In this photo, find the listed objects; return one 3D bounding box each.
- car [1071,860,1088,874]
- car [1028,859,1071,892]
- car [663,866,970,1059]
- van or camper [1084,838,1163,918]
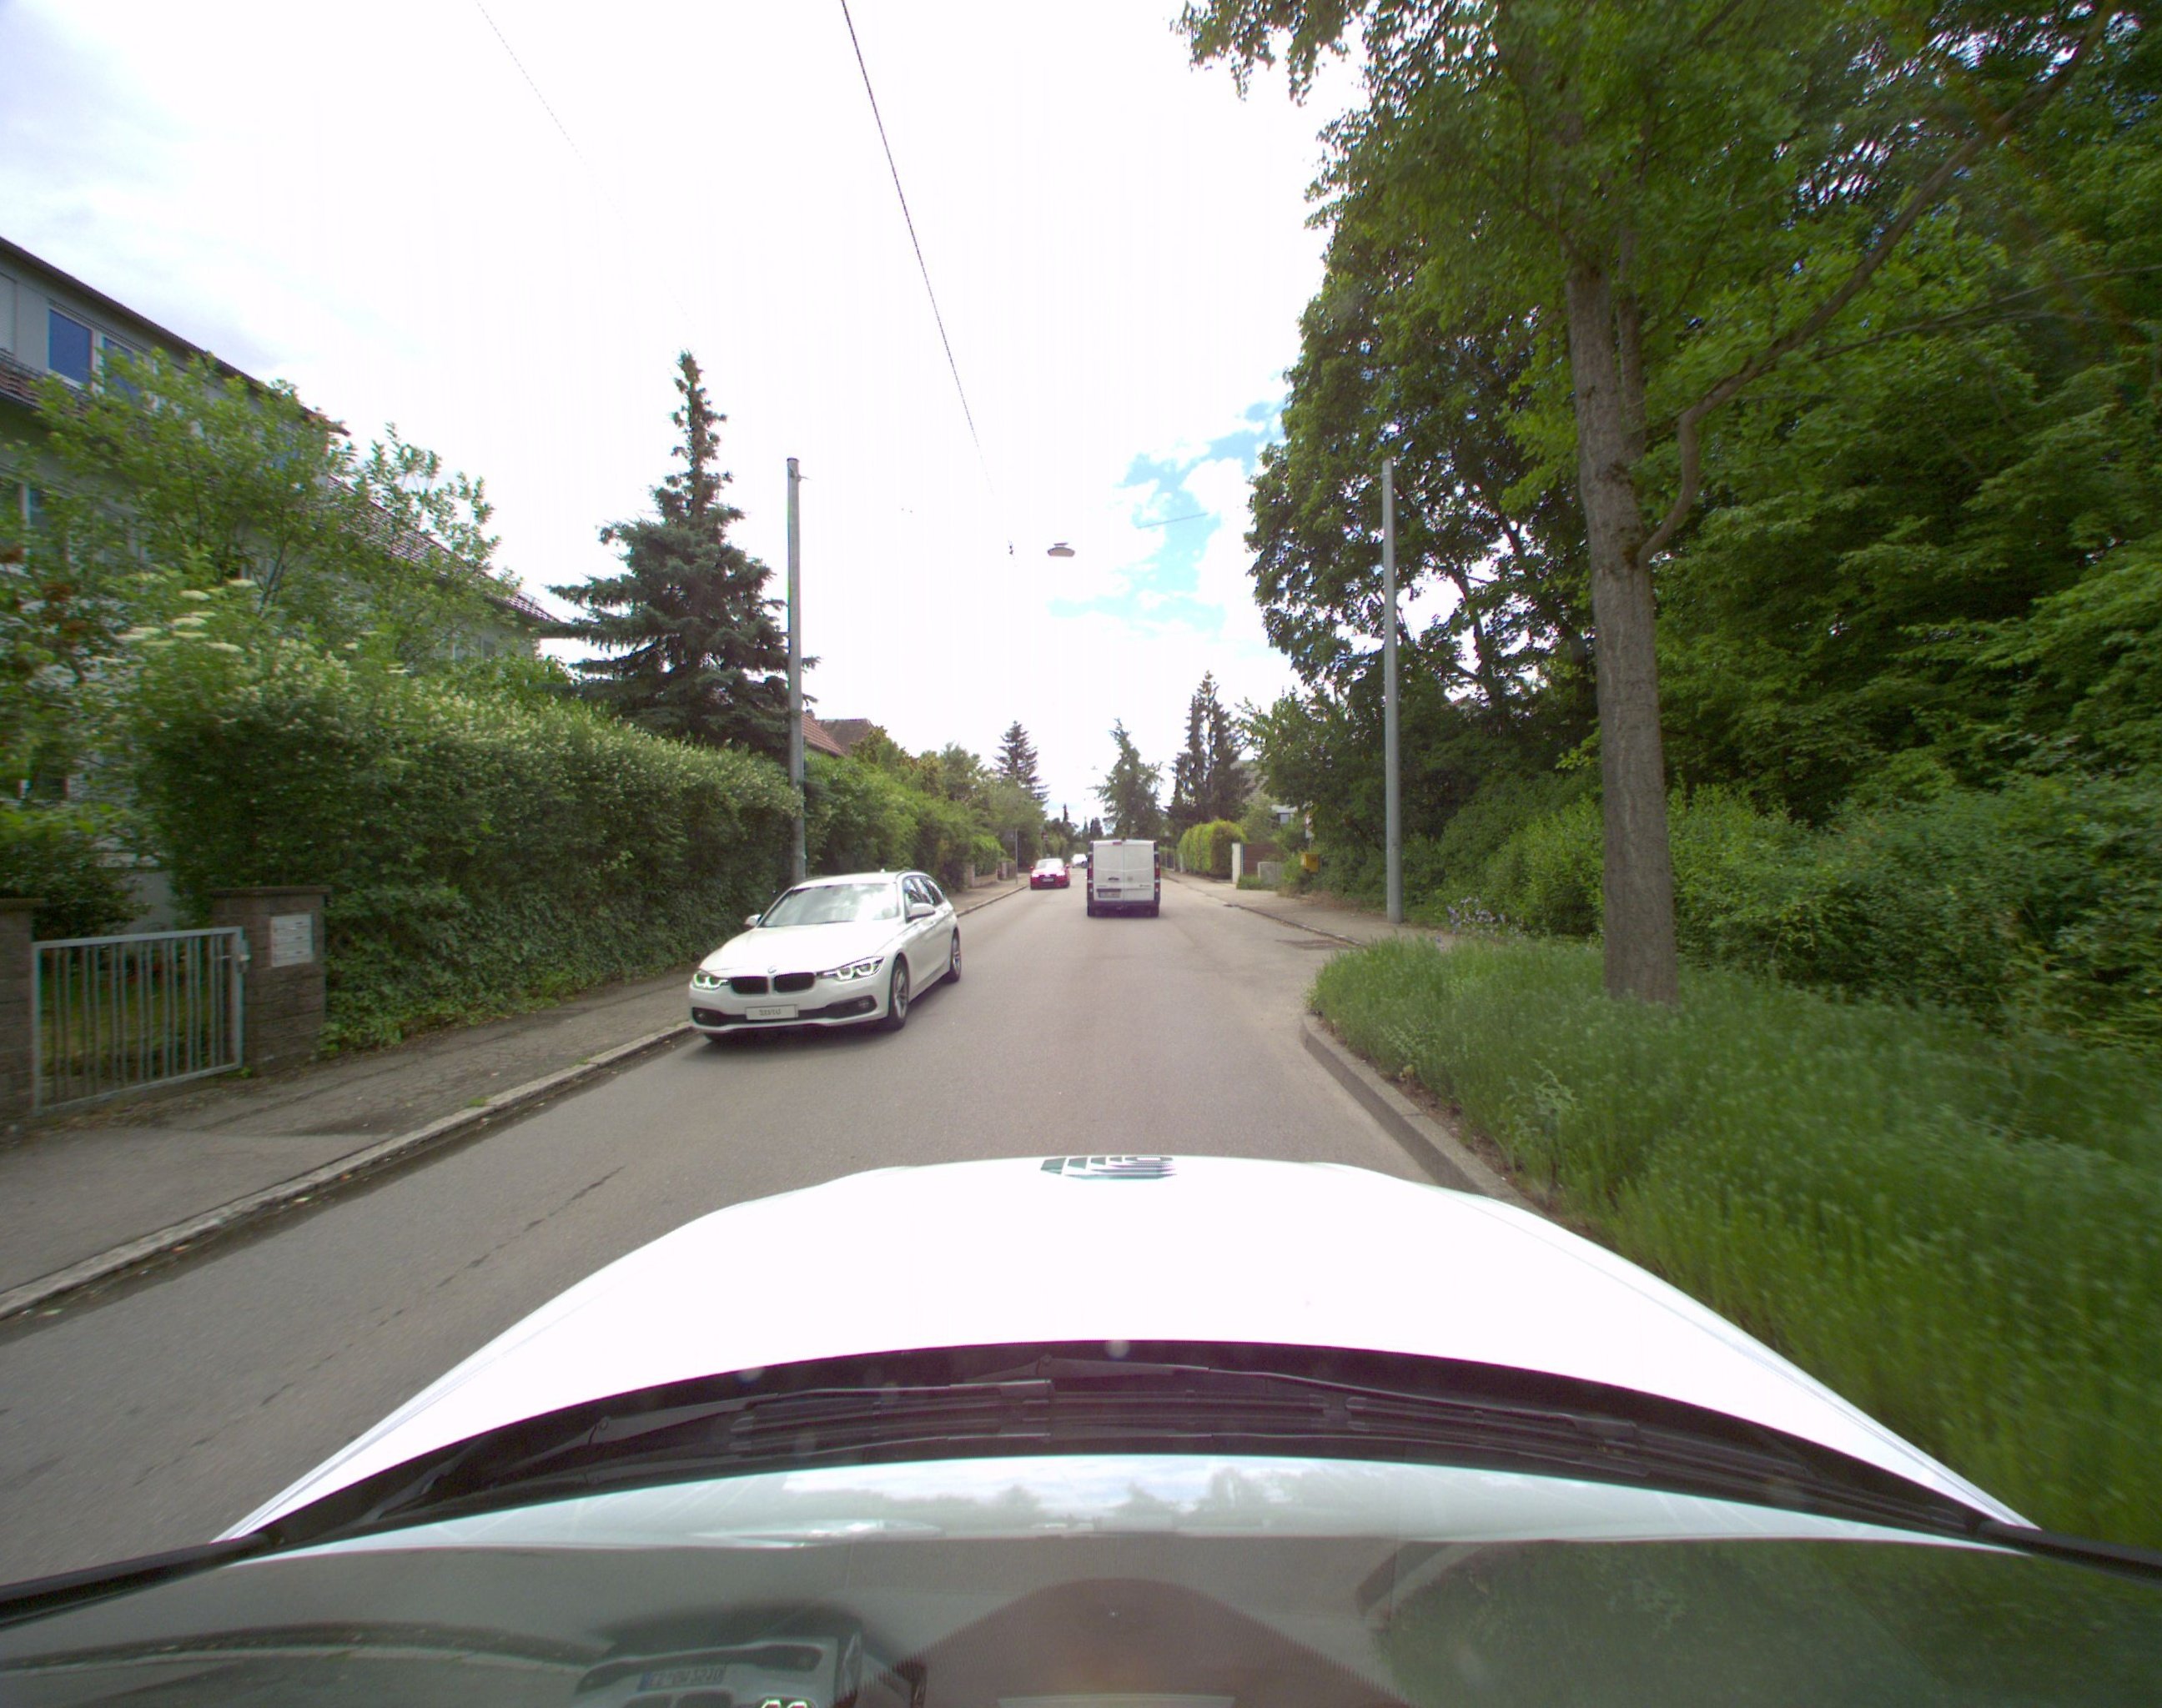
[{"bbox_3d":[-0.172,1.444,94.042,1.848,1.451,4.281,-3,0,0],"label":"car"},{"bbox_3d":[-1.502,1.026,39.950,1.799,1.431,4.118,-4,-1,0],"label":"car"},{"bbox_3d":[-2.462,0.924,8.823,1.799,1.431,4.300,-4,-1,0],"label":"car"},{"bbox_3d":[1.084,0.655,22.243,1.932,1.954,4.765,0,-2,1],"label":"van or camper"}]
